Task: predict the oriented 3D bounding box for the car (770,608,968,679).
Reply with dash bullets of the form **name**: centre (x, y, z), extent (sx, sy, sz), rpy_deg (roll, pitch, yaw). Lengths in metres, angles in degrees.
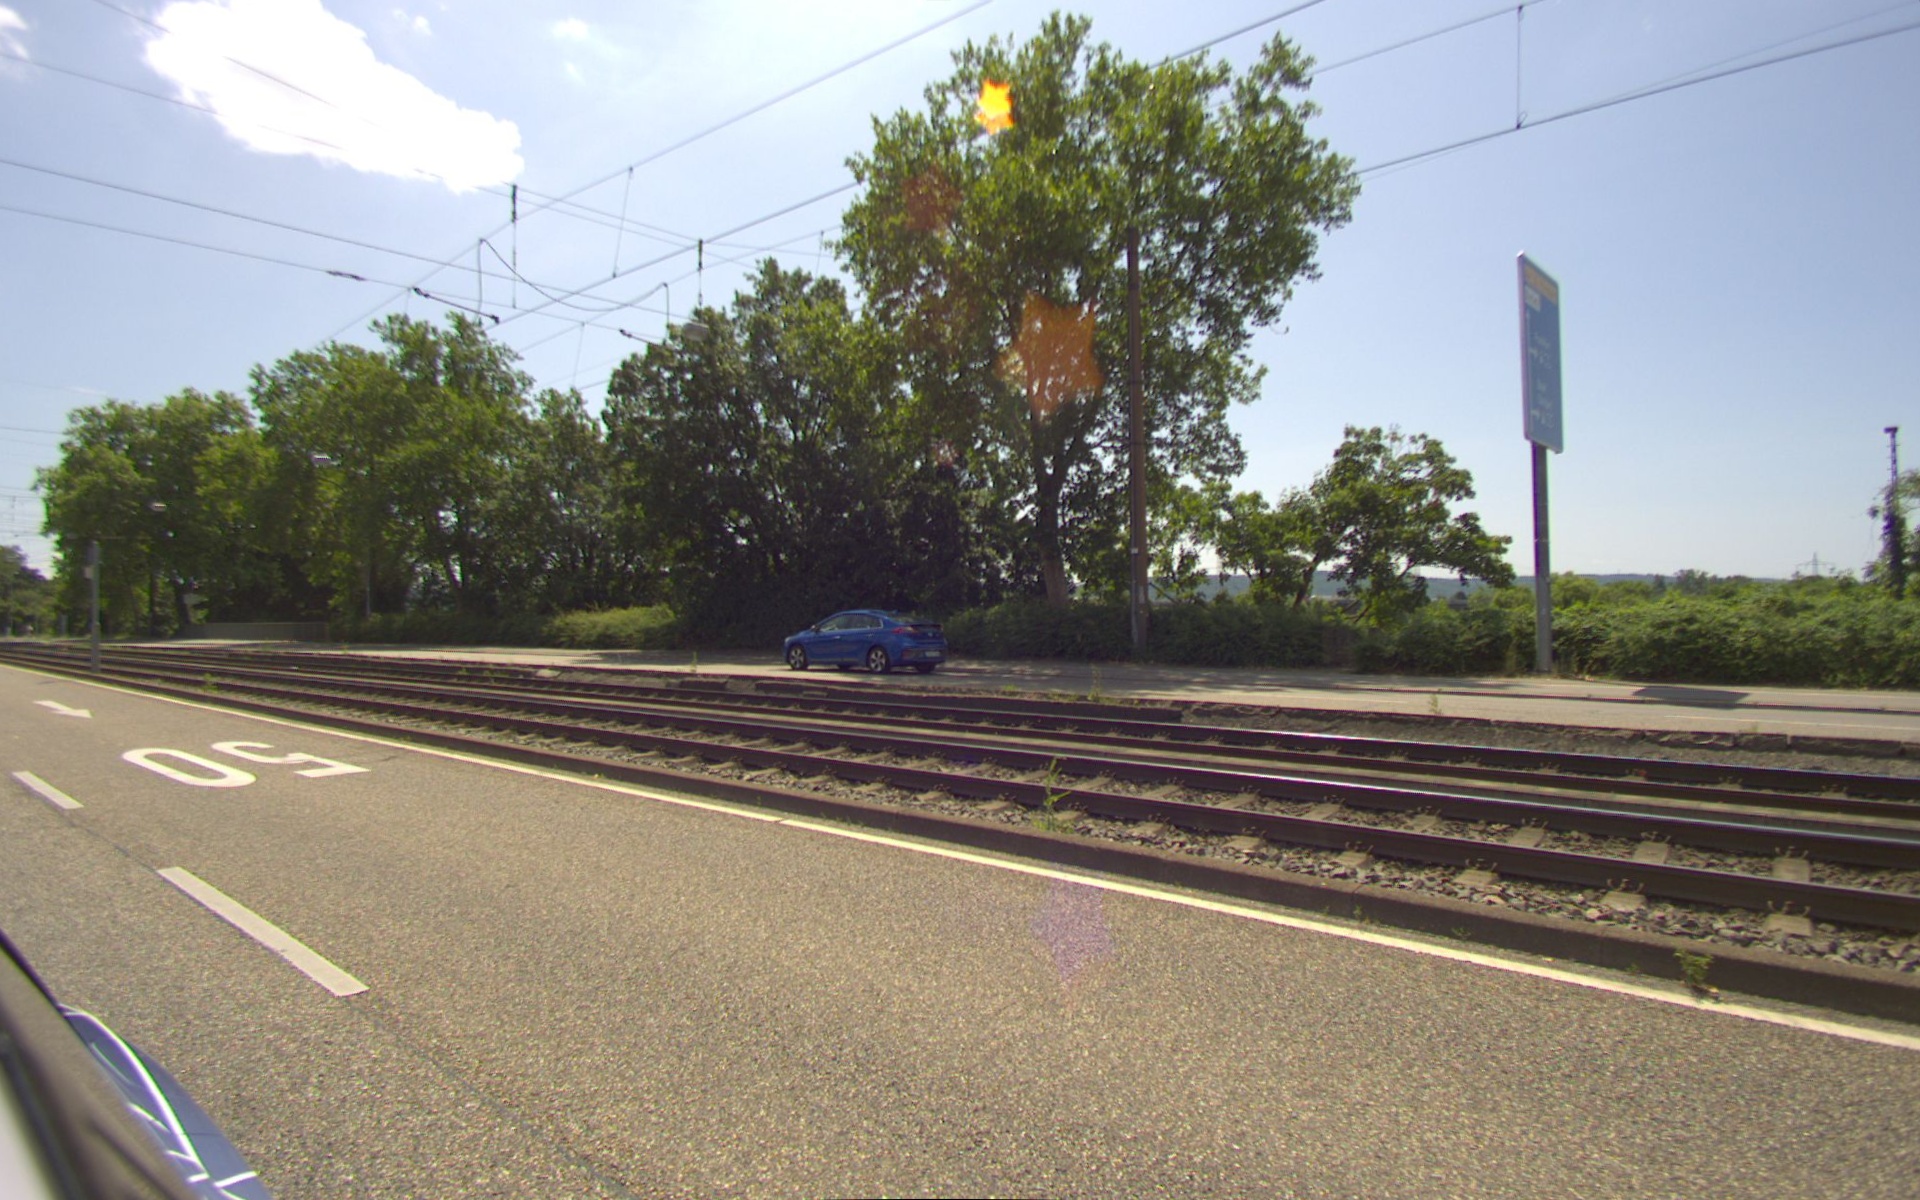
- **car**: centre (-2.210, 1.003, 23.722), extent (4.730, 1.515, 1.781), rpy_deg (-1, -3, 39)
